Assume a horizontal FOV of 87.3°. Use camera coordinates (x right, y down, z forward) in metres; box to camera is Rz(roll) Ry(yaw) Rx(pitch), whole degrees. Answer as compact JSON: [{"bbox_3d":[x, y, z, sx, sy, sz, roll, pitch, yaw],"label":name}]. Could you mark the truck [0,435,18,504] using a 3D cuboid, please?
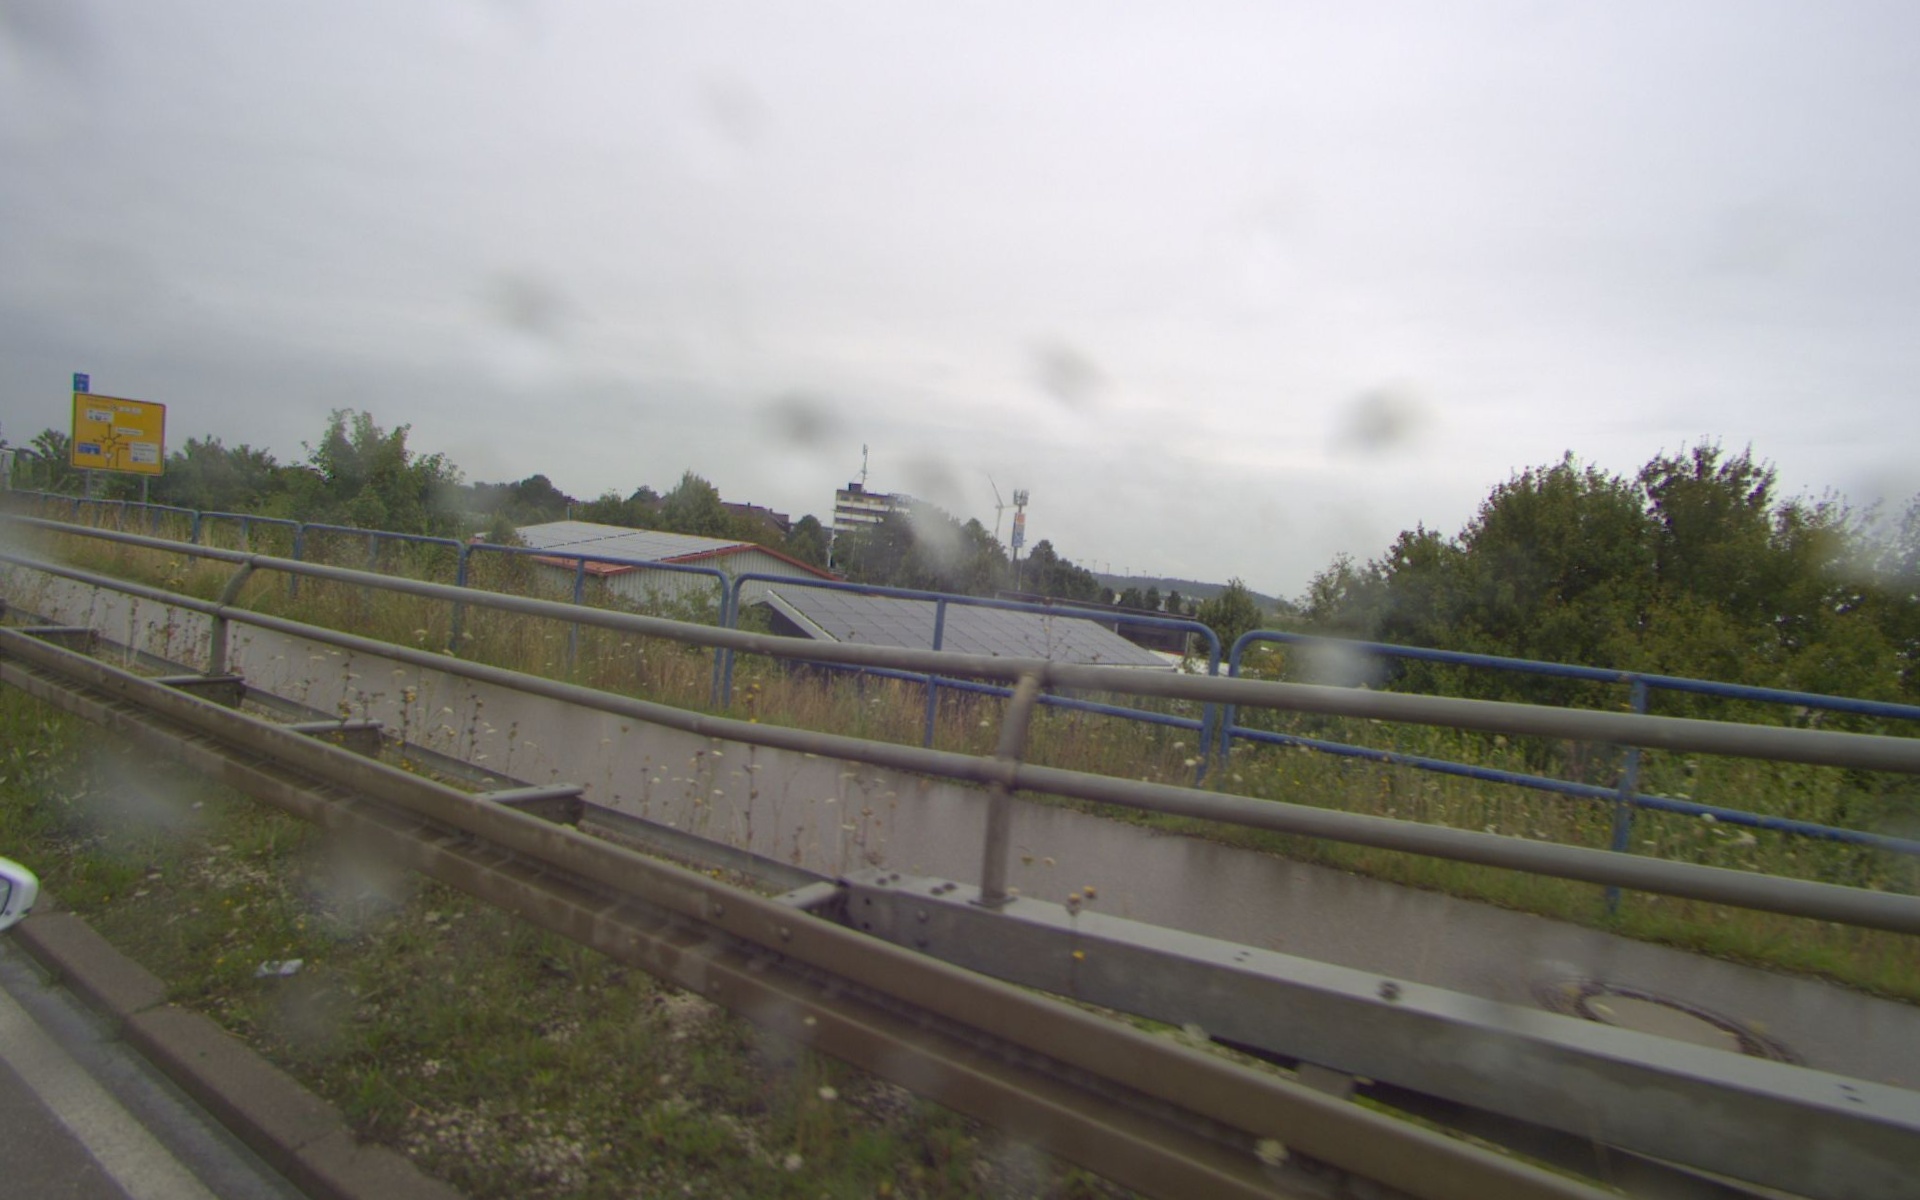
[{"bbox_3d":[-58.199,-7.953,58.512,3.182,3.968,8.662,8,-1,-33],"label":"truck"}]
